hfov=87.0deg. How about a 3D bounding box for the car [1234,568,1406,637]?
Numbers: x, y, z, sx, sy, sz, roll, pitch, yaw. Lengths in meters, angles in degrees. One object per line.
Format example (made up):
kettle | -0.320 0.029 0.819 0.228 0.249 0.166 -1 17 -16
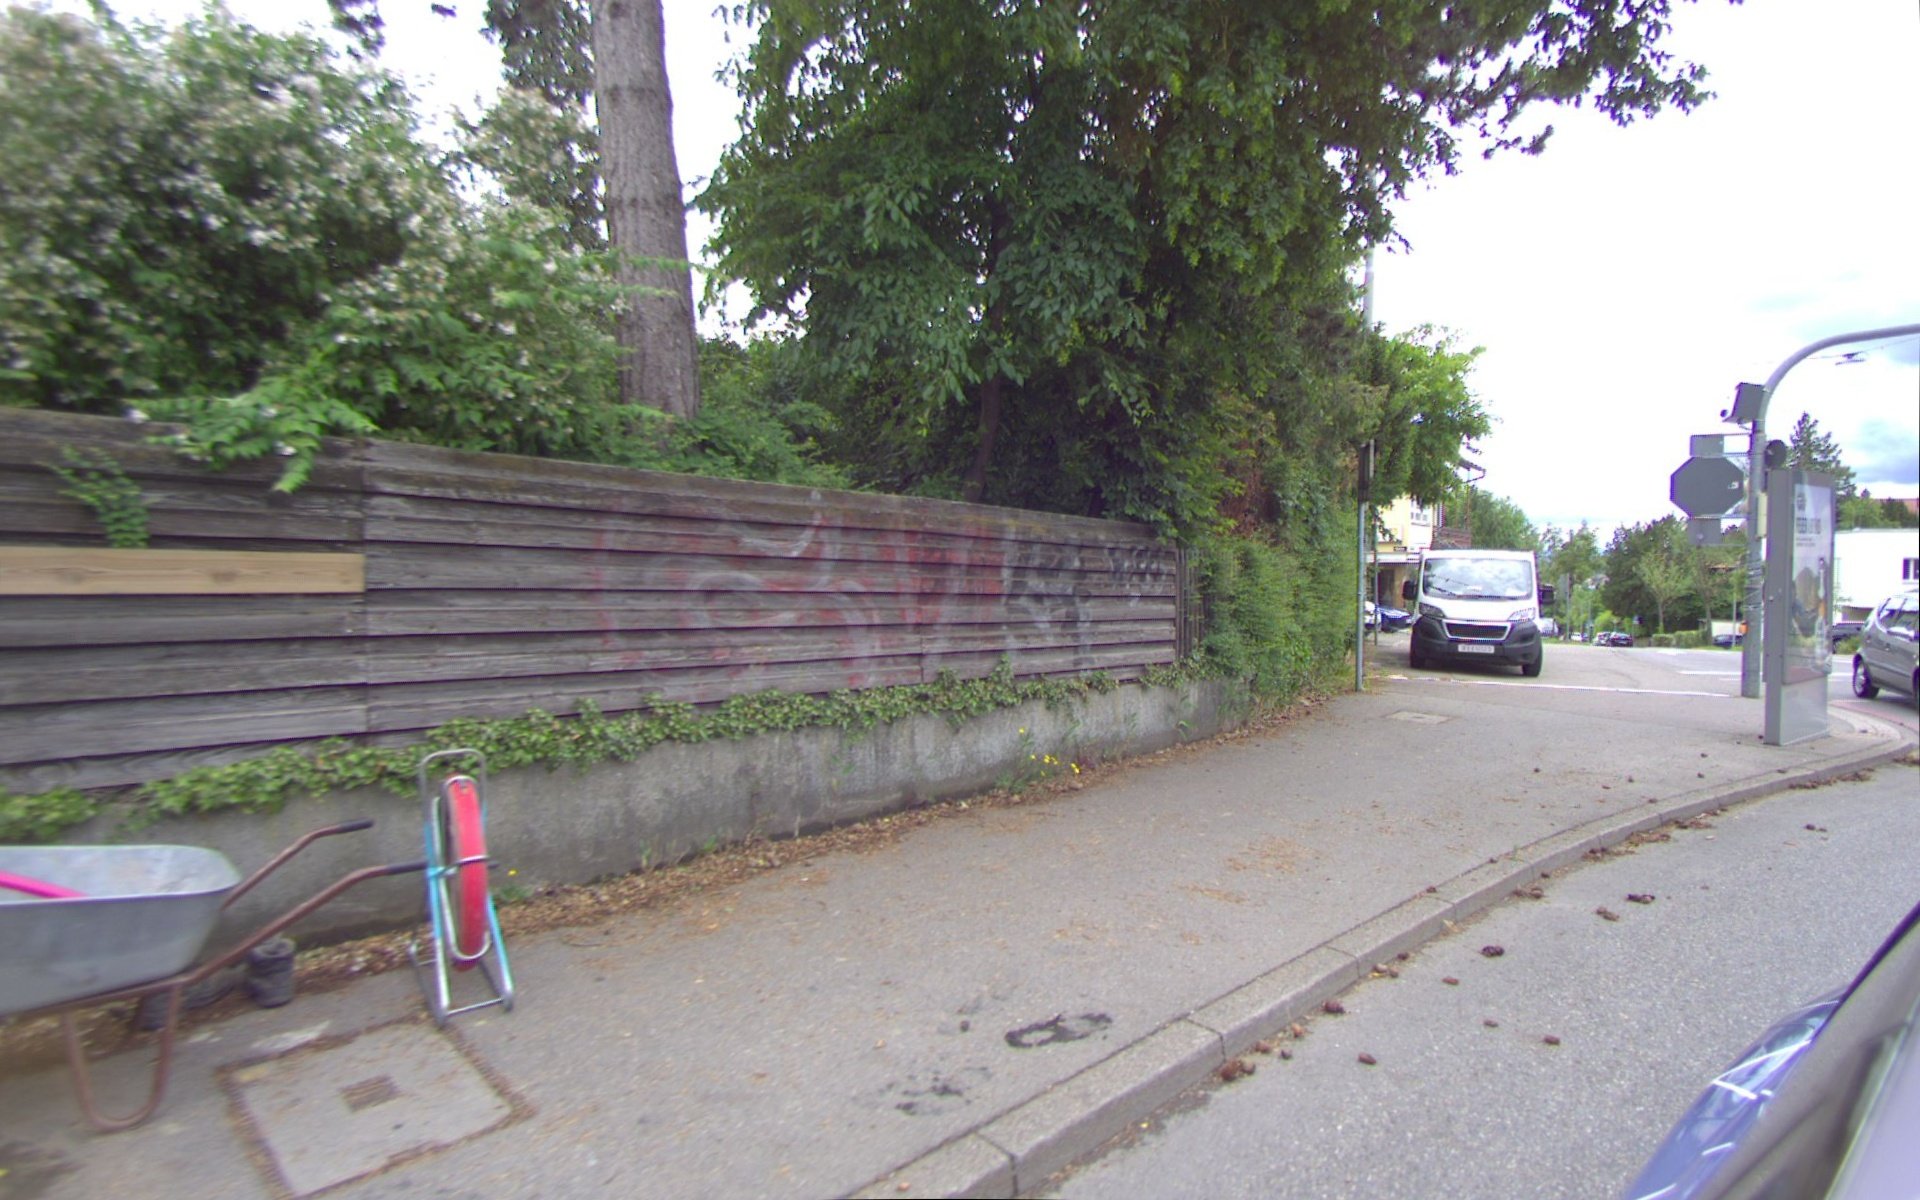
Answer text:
car | 9.764 0.025 27.726 1.834 1.660 4.067 0 2 -37

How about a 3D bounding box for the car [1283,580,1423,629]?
car | 13.788 0.149 35.634 4.210 1.548 1.903 2 0 41

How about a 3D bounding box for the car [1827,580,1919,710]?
car | 13.701 0.565 13.806 1.982 1.616 3.961 1 0 28

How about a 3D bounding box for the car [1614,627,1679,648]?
car | 60.852 3.307 89.787 4.388 1.577 1.984 2 0 24

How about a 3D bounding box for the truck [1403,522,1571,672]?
truck | 9.908 -0.147 19.463 2.379 2.380 6.137 2 2 25
